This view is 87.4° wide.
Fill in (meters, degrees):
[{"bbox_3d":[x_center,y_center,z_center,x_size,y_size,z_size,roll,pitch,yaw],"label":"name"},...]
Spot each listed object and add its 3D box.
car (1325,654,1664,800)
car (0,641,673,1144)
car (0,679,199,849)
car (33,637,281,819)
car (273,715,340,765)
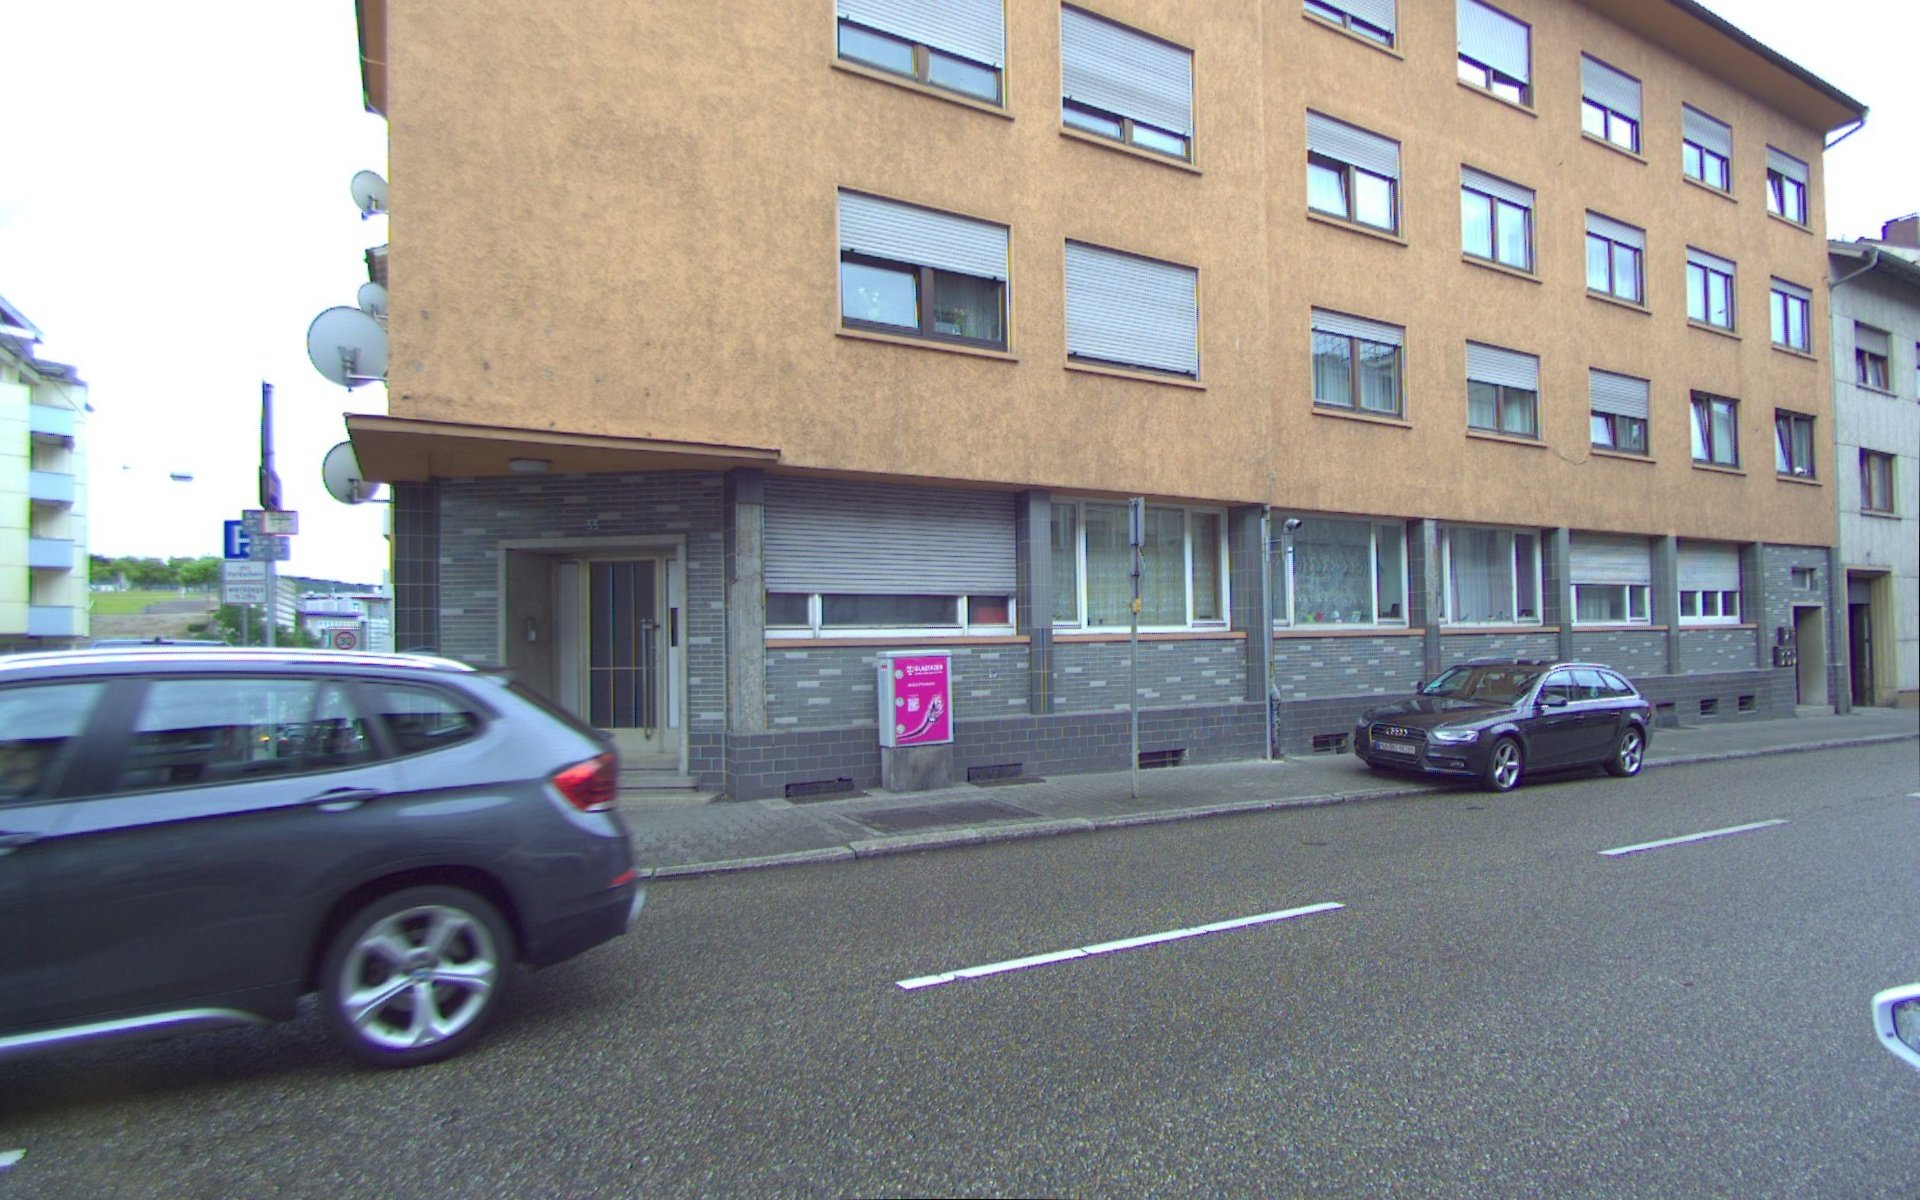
[{"bbox_3d":[6.912,1.486,12.870,4.475,1.457,1.786,1,0,-31],"label":"car"},{"bbox_3d":[-3.367,0.954,3.822,4.111,1.526,1.695,1,-5,-31],"label":"car"},{"bbox_3d":[-10.166,1.833,11.407,1.820,1.596,4.127,1,-8,-29],"label":"car"},{"bbox_3d":[-13.168,2.103,16.981,2.223,2.492,6.017,1,-7,-29],"label":"car"},{"bbox_3d":[-24.489,5.241,37.764,1.796,1.696,4.026,1,-7,-29],"label":"car"}]
